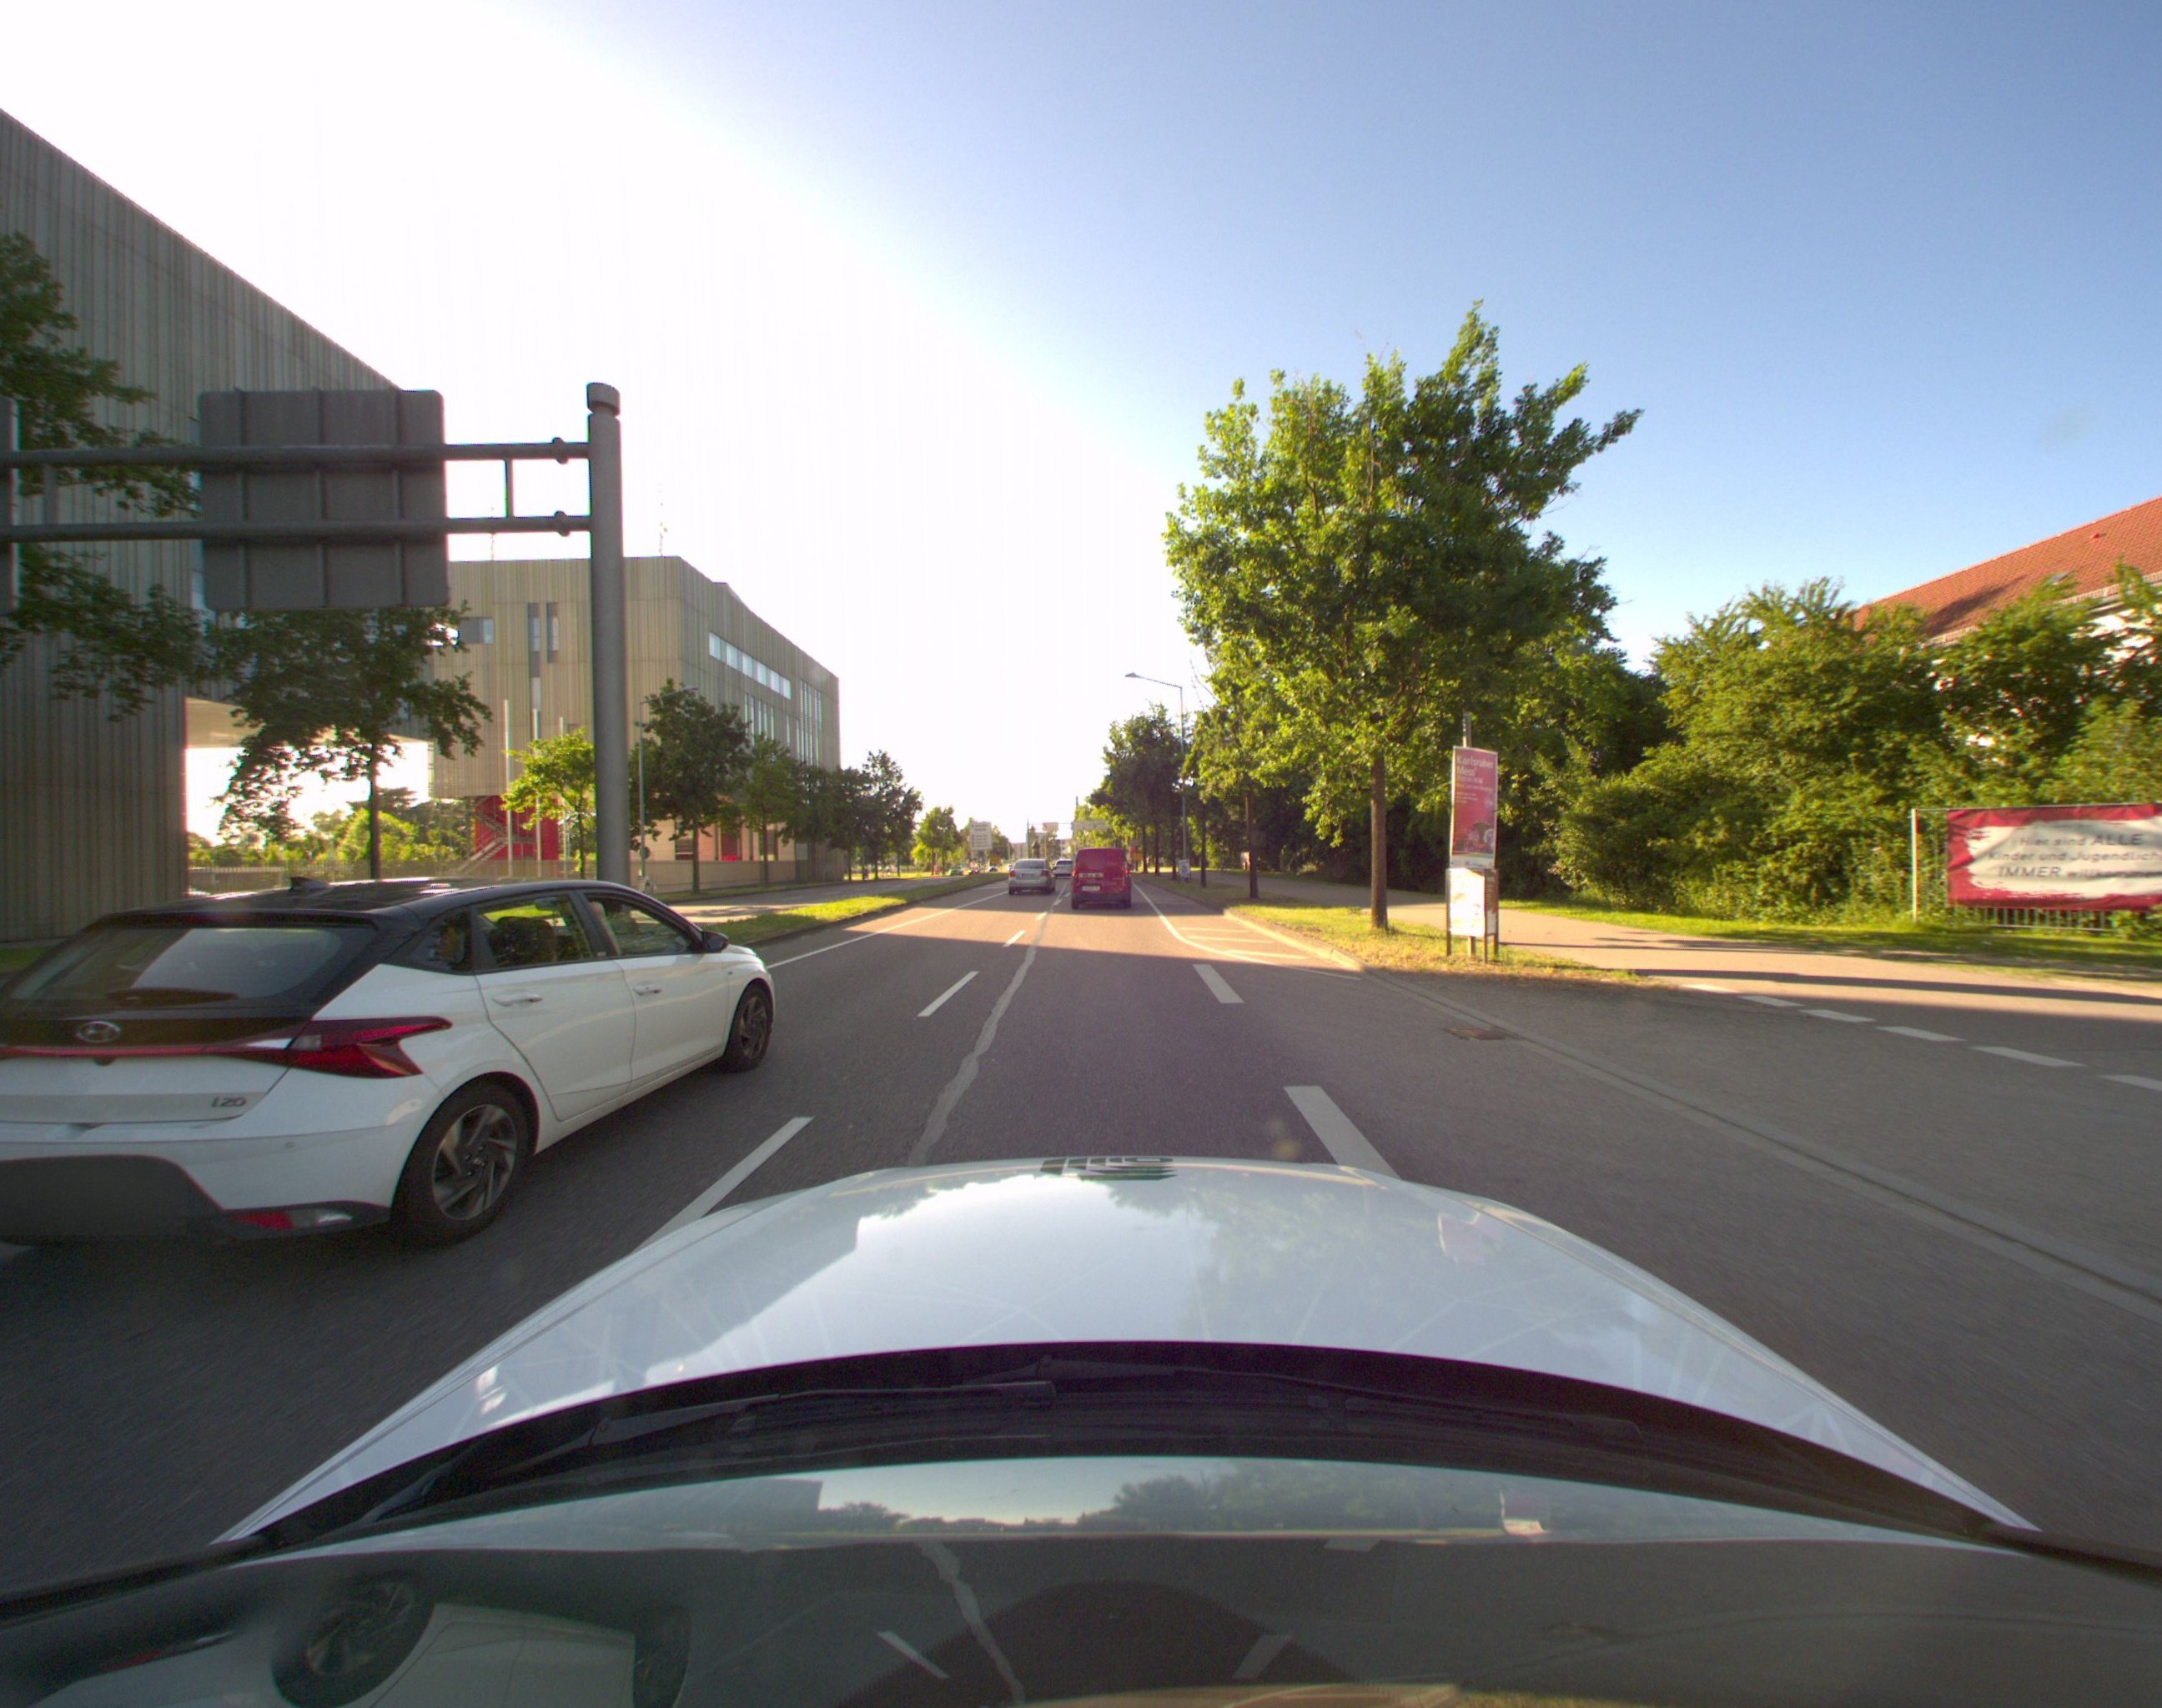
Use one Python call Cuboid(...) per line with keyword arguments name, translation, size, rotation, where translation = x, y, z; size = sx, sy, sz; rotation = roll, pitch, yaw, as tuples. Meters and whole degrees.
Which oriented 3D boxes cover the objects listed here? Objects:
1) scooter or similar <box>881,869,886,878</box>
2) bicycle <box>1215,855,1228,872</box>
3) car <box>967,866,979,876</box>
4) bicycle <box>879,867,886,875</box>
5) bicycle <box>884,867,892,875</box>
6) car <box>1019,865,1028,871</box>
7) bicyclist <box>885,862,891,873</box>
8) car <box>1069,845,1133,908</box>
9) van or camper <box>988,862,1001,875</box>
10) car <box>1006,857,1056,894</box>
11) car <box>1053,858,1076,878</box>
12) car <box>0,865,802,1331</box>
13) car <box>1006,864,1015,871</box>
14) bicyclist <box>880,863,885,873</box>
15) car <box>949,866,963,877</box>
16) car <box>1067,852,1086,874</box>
Cuboid(name="scooter or similar", translation=(-24.823, 2.402, 102.276), size=(0.230, 1.149, 1.327), rotation=(-2, -1, 0))
Cuboid(name="bicycle", translation=(9.257, 0.612, 53.836), size=(0.769, 1.131, 1.712), rotation=(-2, 0, 8))
Cuboid(name="car", translation=(-18.146, 2.822, 137.446), size=(1.546, 1.508, 4.024), rotation=(-2, 0, -2))
Cuboid(name="bicycle", translation=(-26.207, 2.251, 107.586), size=(0.485, 1.003, 2.095), rotation=(-2, -1, -1))
Cuboid(name="bicycle", translation=(-25.396, 2.222, 107.354), size=(0.568, 1.003, 2.095), rotation=(-2, -1, -1))
Cuboid(name="car", translation=(-12.912, 3.159, 181.668), size=(1.823, 1.111, 4.171), rotation=(-2, -1, -2))
Cuboid(name="bicyclist", translation=(-25.411, 1.815, 107.360), size=(0.560, 1.392, 0.747), rotation=(-2, -1, -1))
Cuboid(name="car", translation=(0.548, 0.654, 25.038), size=(1.801, 1.759, 4.004), rotation=(0, 0, -1))
Cuboid(name="van or camper", translation=(-17.832, 2.947, 167.942), size=(1.987, 2.368, 5.991), rotation=(-3, 0, -1))
Cuboid(name="car", translation=(-2.053, 0.855, 34.390), size=(1.835, 1.456, 4.162), rotation=(0, 0, 0))
Cuboid(name="car", translation=(-1.192, 1.031, 59.950), size=(1.656, 1.398, 3.557), rotation=(-2, 0, -1))
Cuboid(name="car", translation=(-3.248, 0.806, 4.616), size=(1.771, 1.409, 4.077), rotation=(-1, 0, 2))
Cuboid(name="car", translation=(-14.986, 2.845, 172.614), size=(1.684, 1.476, 4.046), rotation=(-2, -1, -2))
Cuboid(name="bicyclist", translation=(-26.223, 1.847, 107.567), size=(0.481, 1.395, 0.844), rotation=(-2, -1, -1))
Cuboid(name="car", translation=(-17.287, 2.374, 112.780), size=(1.442, 1.436, 3.457), rotation=(-2, 0, -2))
Cuboid(name="car", translation=(-0.386, 0.791, 73.329), size=(1.656, 1.856, 3.557), rotation=(-2, 0, -1))
